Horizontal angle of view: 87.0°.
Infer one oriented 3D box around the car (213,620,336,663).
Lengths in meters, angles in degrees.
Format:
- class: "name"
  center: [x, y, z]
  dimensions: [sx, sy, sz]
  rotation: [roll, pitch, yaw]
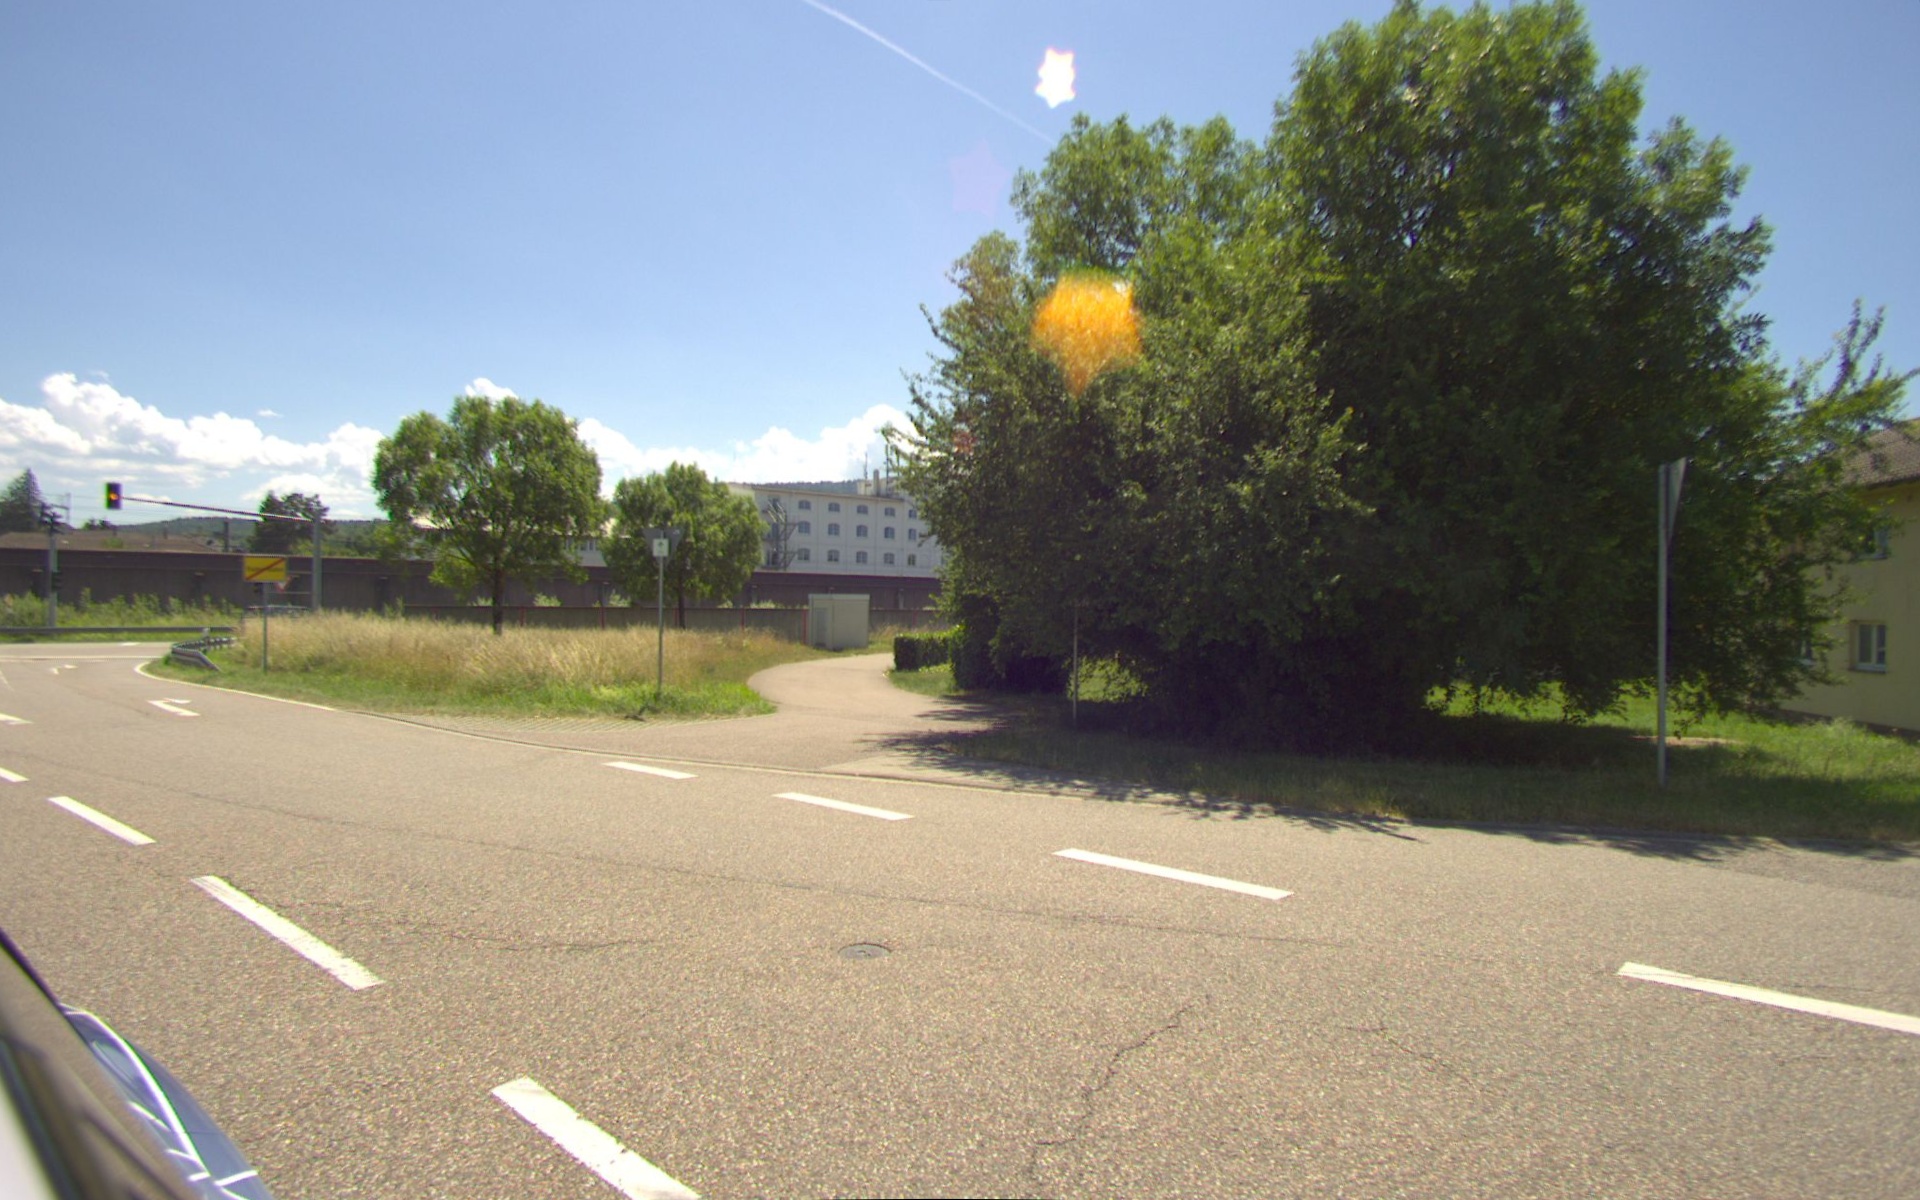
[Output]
- class: "car"
  center: [-30.502, 1.808, 45.224]
  dimensions: [1.978, 1.735, 4.471]
  rotation: [2, -1, 9]
